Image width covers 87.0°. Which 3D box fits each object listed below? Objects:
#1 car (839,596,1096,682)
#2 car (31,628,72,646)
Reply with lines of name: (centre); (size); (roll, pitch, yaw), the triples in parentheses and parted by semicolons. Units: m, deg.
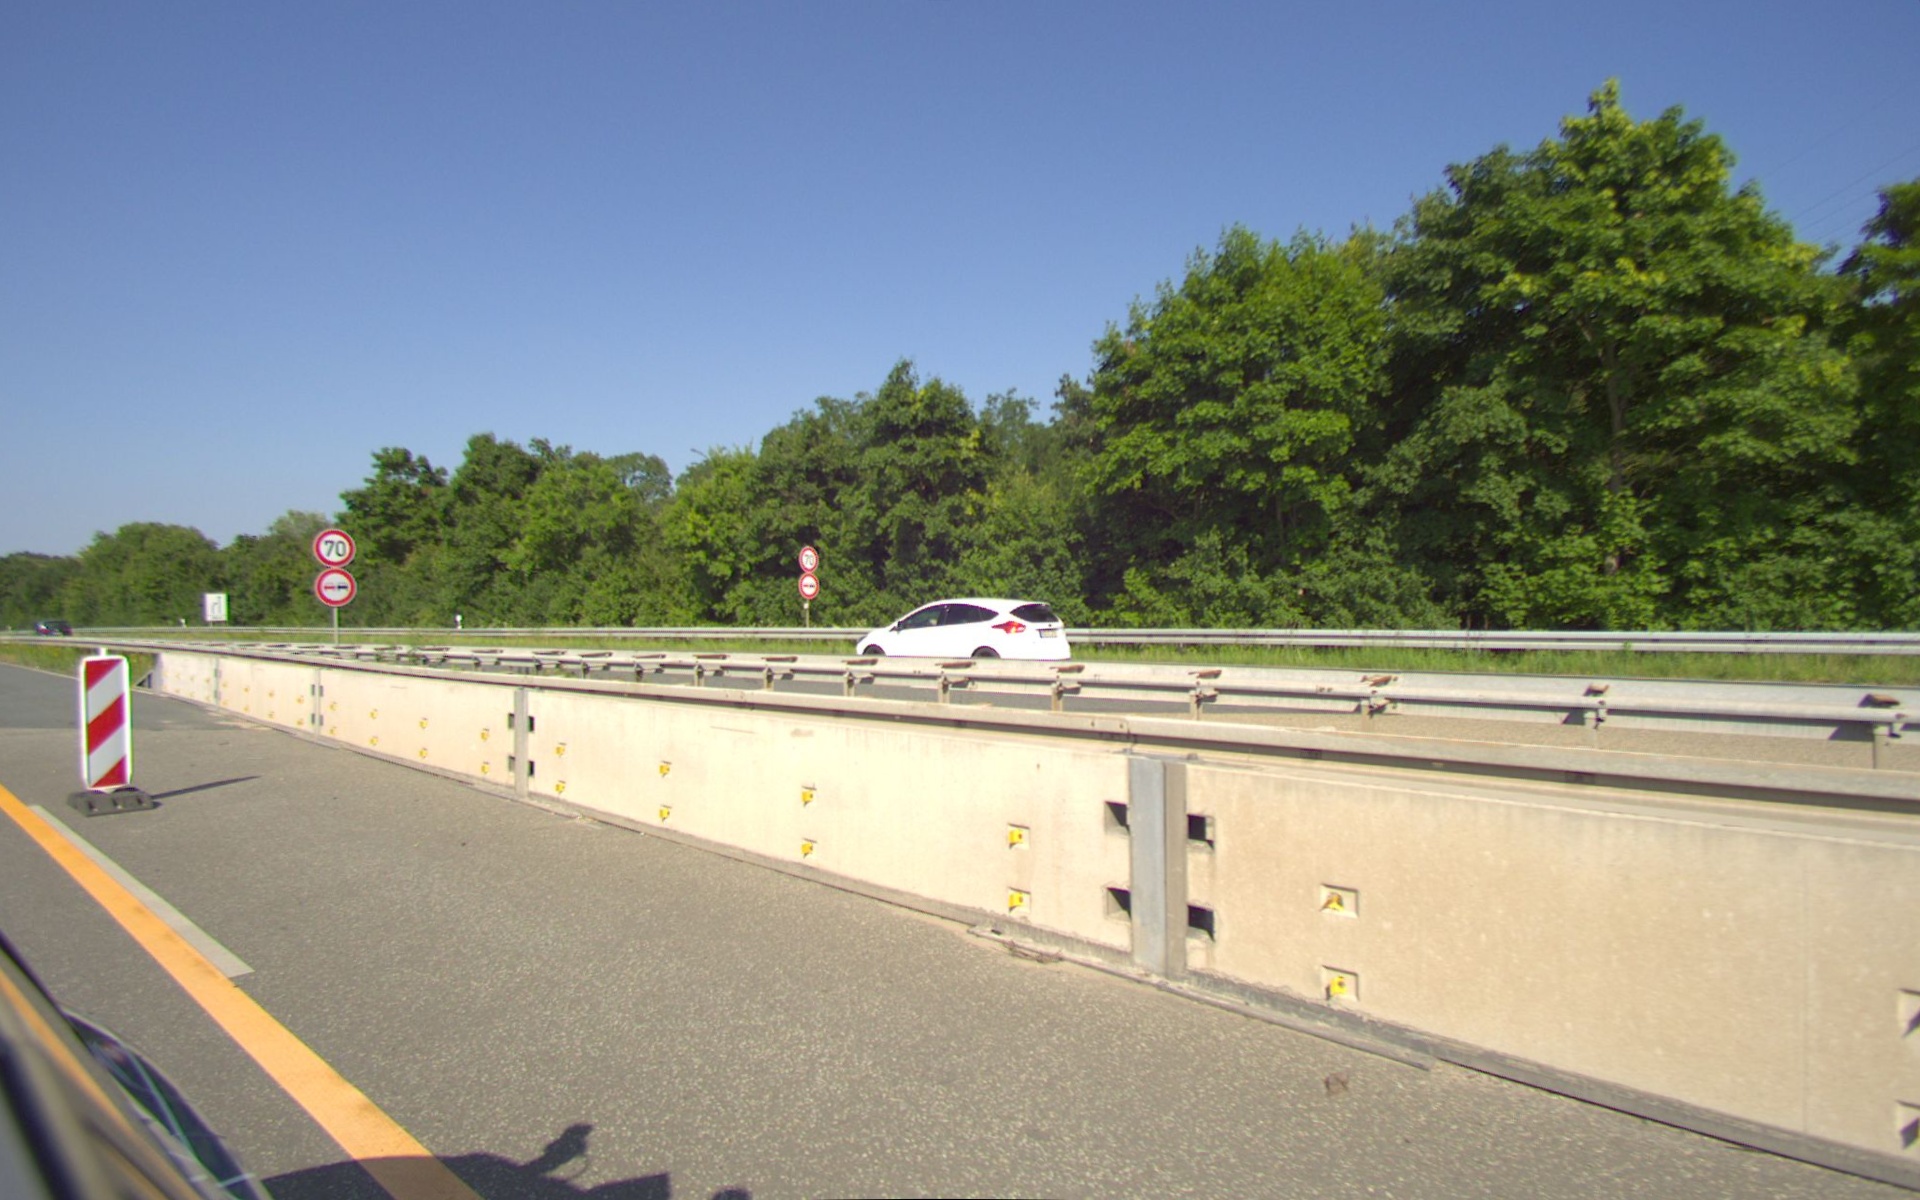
car: (0.029, 0.653, 18.118); (4.548, 1.349, 1.722); (-1, 0, 40)
car: (-63.673, 2.557, 70.887); (3.765, 1.155, 1.575); (-1, 1, 40)
